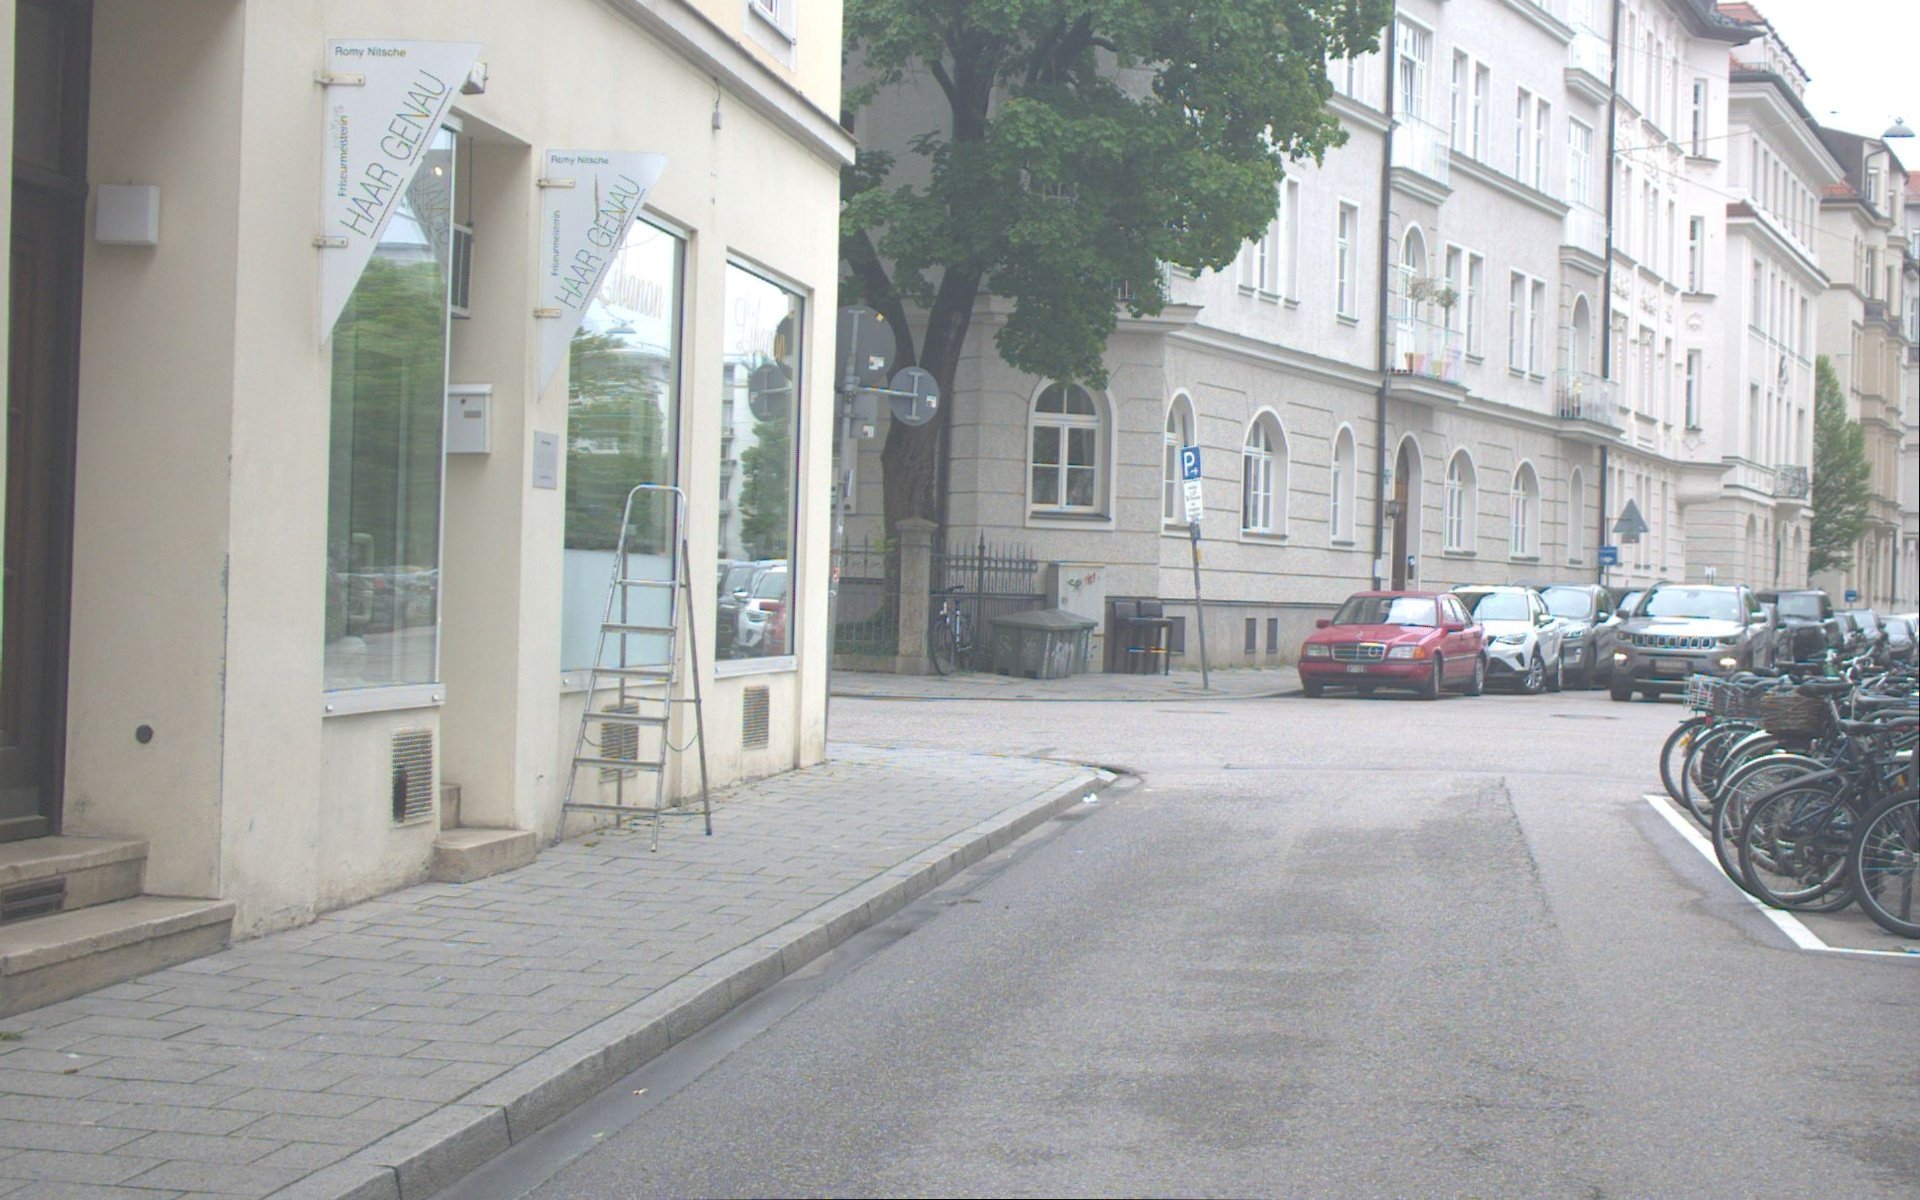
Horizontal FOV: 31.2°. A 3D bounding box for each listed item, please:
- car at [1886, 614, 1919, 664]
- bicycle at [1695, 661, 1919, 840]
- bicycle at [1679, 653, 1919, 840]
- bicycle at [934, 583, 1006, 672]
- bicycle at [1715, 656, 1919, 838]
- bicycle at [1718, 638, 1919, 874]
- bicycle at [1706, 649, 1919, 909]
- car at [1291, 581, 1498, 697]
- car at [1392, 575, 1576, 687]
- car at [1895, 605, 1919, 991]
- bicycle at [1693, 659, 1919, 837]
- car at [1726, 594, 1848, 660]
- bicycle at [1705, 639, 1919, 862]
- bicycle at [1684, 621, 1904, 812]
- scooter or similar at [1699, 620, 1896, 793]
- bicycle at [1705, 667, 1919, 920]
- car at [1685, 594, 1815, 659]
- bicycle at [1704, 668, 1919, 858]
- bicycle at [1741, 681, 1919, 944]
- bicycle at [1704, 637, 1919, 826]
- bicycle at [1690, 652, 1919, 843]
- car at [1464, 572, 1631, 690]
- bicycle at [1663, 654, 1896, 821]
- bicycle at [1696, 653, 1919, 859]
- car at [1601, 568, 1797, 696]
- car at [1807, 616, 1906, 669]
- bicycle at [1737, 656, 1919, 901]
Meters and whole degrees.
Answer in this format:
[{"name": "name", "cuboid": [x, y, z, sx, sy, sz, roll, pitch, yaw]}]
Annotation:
[{"name": "car", "cuboid": [28.367, 1.154, 101.452, 1.735, 1.415, 3.996, 2, 0, 19]}, {"name": "bicycle", "cuboid": [5.575, 0.959, 21.929, 1.674, 1.076, 0.336, 2, 1, 5]}, {"name": "bicycle", "cuboid": [5.411, 0.899, 21.120, 1.874, 1.076, 0.408, 2, 1, 5]}, {"name": "bicycle", "cuboid": [0.137, 0.345, 44.394, 0.494, 1.049, 1.826, 2, 2, 13]}, {"name": "bicycle", "cuboid": [5.590, 0.921, 21.537, 1.613, 1.076, 0.378, 2, 1, 5]}, {"name": "bicycle", "cuboid": [4.993, 0.820, 18.138, 1.874, 1.200, 0.579, 1, 0, 6]}, {"name": "bicycle", "cuboid": [4.637, 0.881, 16.763, 1.874, 1.200, 0.488, 2, 1, 7]}, {"name": "car", "cuboid": [5.692, 0.486, 44.639, 1.732, 1.373, 4.222, 2, 0, 20]}, {"name": "car", "cuboid": [7.528, 0.430, 49.124, 1.995, 1.468, 4.215, 2, 0, 17]}, {"name": "car", "cuboid": [4.291, 0.782, 11.942, 1.581, 1.459, 3.550, 2, 1, 9]}, {"name": "bicycle", "cuboid": [5.690, 0.961, 22.330, 1.740, 1.076, 0.452, 2, 1, 5]}, {"name": "car", "cuboid": [17.875, 0.576, 74.169, 1.909, 1.324, 3.995, 2, 0, 23]}, {"name": "bicycle", "cuboid": [5.074, 0.822, 18.760, 1.894, 1.166, 0.566, 1, 0, 6]}, {"name": "bicycle", "cuboid": [5.947, 0.824, 24.560, 1.457, 1.281, 0.445, 2, 0, 10]}, {"name": "scooter or similar", "cuboid": [6.162, 0.778, 25.333, 1.353, 1.206, 0.417, 2, 0, 10]}, {"name": "bicycle", "cuboid": [4.535, 0.936, 16.253, 1.874, 1.104, 0.488, 3, 2, 6]}, {"name": "car", "cuboid": [16.066, 0.538, 69.791, 1.909, 1.218, 3.995, 2, 0, 23]}, {"name": "bicycle", "cuboid": [5.324, 0.950, 19.983, 1.874, 1.048, 0.564, 2, -1, 5]}, {"name": "bicycle", "cuboid": [4.472, 0.972, 15.196, 1.874, 1.076, 0.488, 4, 2, 6]}, {"name": "bicycle", "cuboid": [5.791, 0.880, 23.107, 1.451, 1.203, 0.395, 2, 0, 1]}, {"name": "bicycle", "cuboid": [5.385, 0.891, 20.680, 1.874, 1.076, 0.402, 2, 1, 5]}, {"name": "car", "cuboid": [9.263, 0.471, 53.962, 1.944, 1.696, 3.996, 2, 1, 18]}, {"name": "bicycle", "cuboid": [5.617, 0.936, 23.590, 1.451, 1.066, 0.463, 2, 0, 1]}, {"name": "bicycle", "cuboid": [5.130, 0.880, 19.302, 1.874, 1.091, 0.440, 2, 1, 5]}, {"name": "car", "cuboid": [10.089, 0.411, 46.711, 1.959, 1.602, 4.304, 2, 0, 21]}, {"name": "car", "cuboid": [22.205, 1.041, 85.051, 1.908, 1.218, 3.996, 2, 0, 21]}, {"name": "bicycle", "cuboid": [4.954, 0.924, 17.405, 1.874, 1.153, 0.565, 3, 2, 6]}]
